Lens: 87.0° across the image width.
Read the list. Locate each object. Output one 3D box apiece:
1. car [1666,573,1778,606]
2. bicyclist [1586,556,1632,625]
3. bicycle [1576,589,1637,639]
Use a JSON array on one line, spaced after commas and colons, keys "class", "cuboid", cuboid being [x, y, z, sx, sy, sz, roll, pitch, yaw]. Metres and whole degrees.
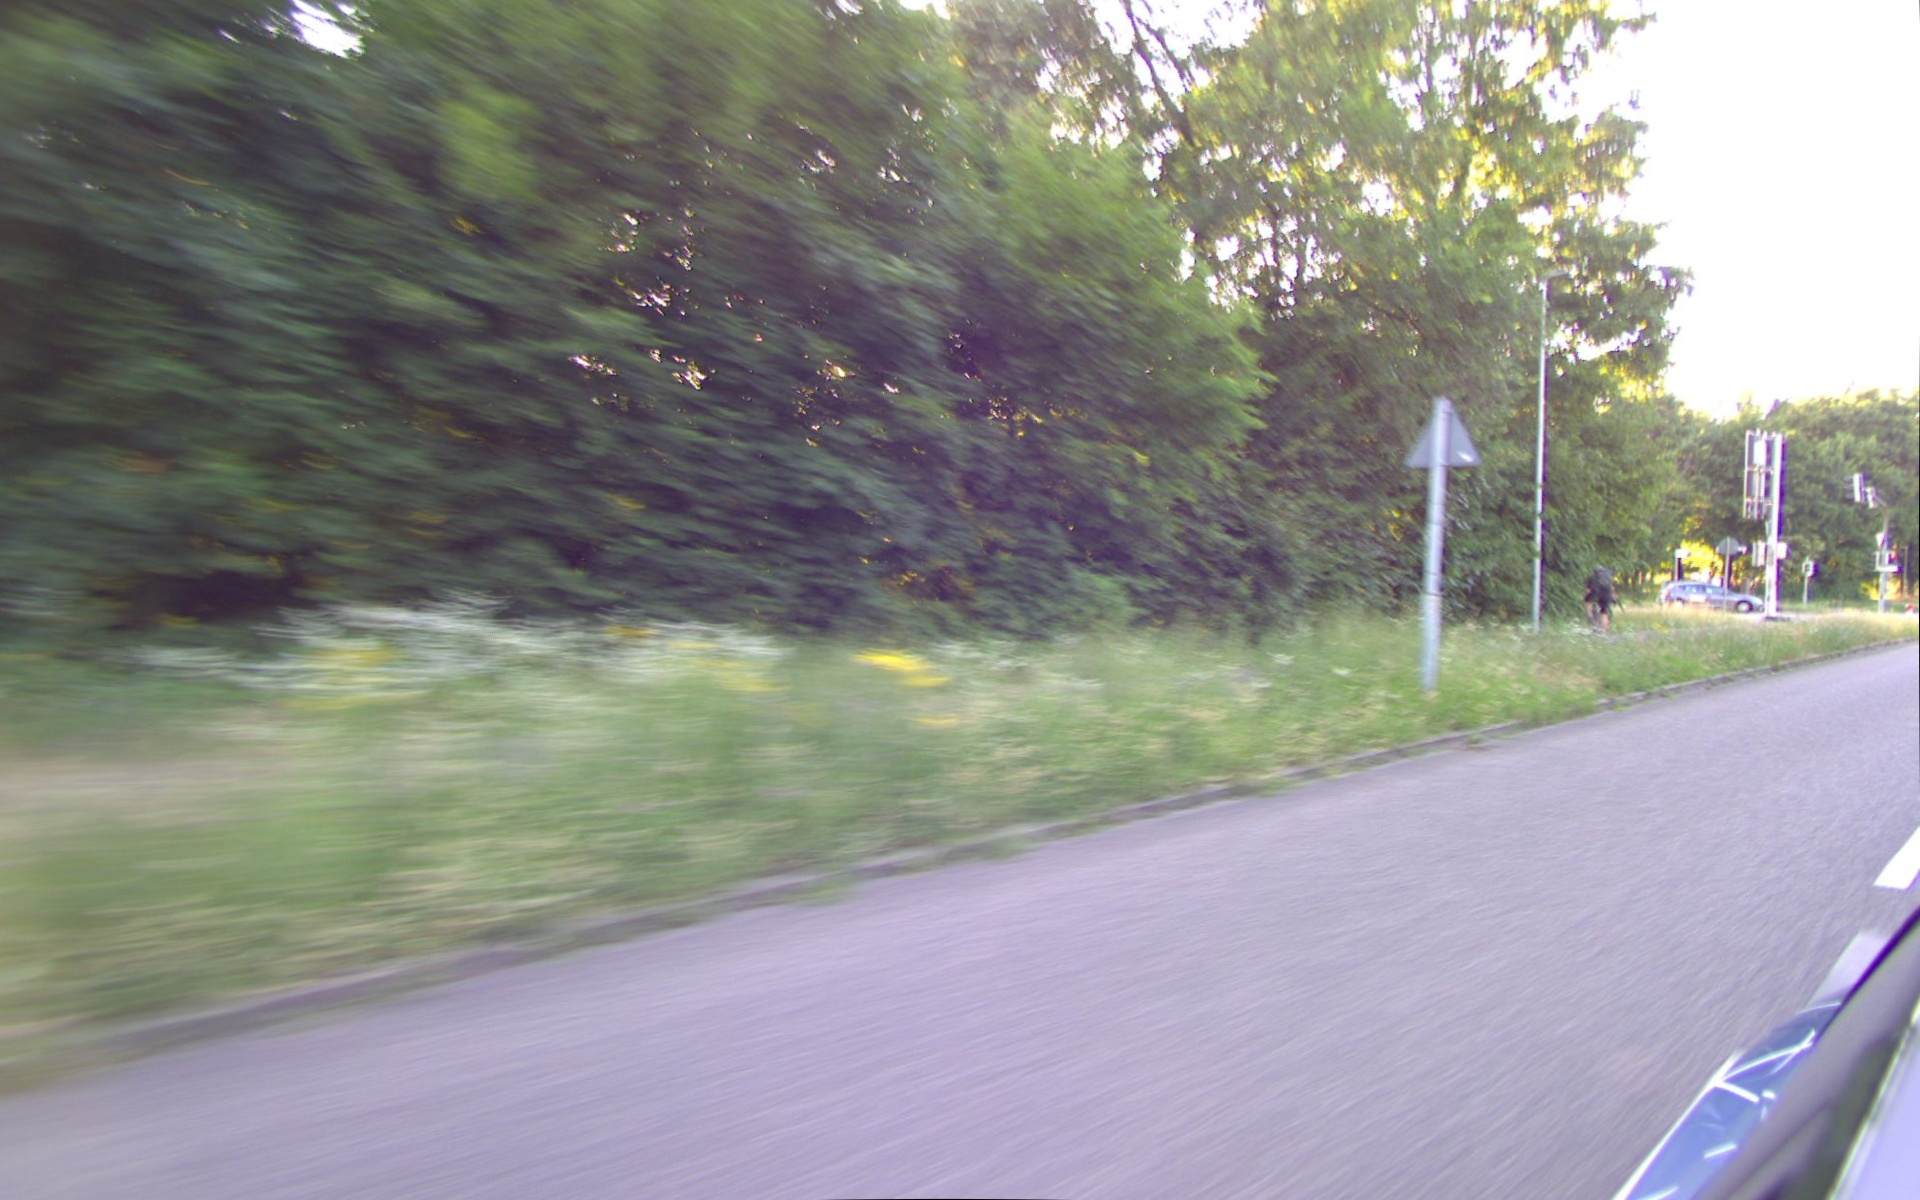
[{"class": "car", "cuboid": [37.193, -0.537, 49.511, 4.035, 1.422, 1.856, 2, 4, 27]}, {"class": "bicyclist", "cuboid": [14.238, -0.220, 22.196, 0.766, 1.473, 0.605, 0, 3, -39]}, {"class": "bicycle", "cuboid": [14.135, 0.282, 22.110, 1.661, 1.007, 0.613, -1, 3, -39]}]
